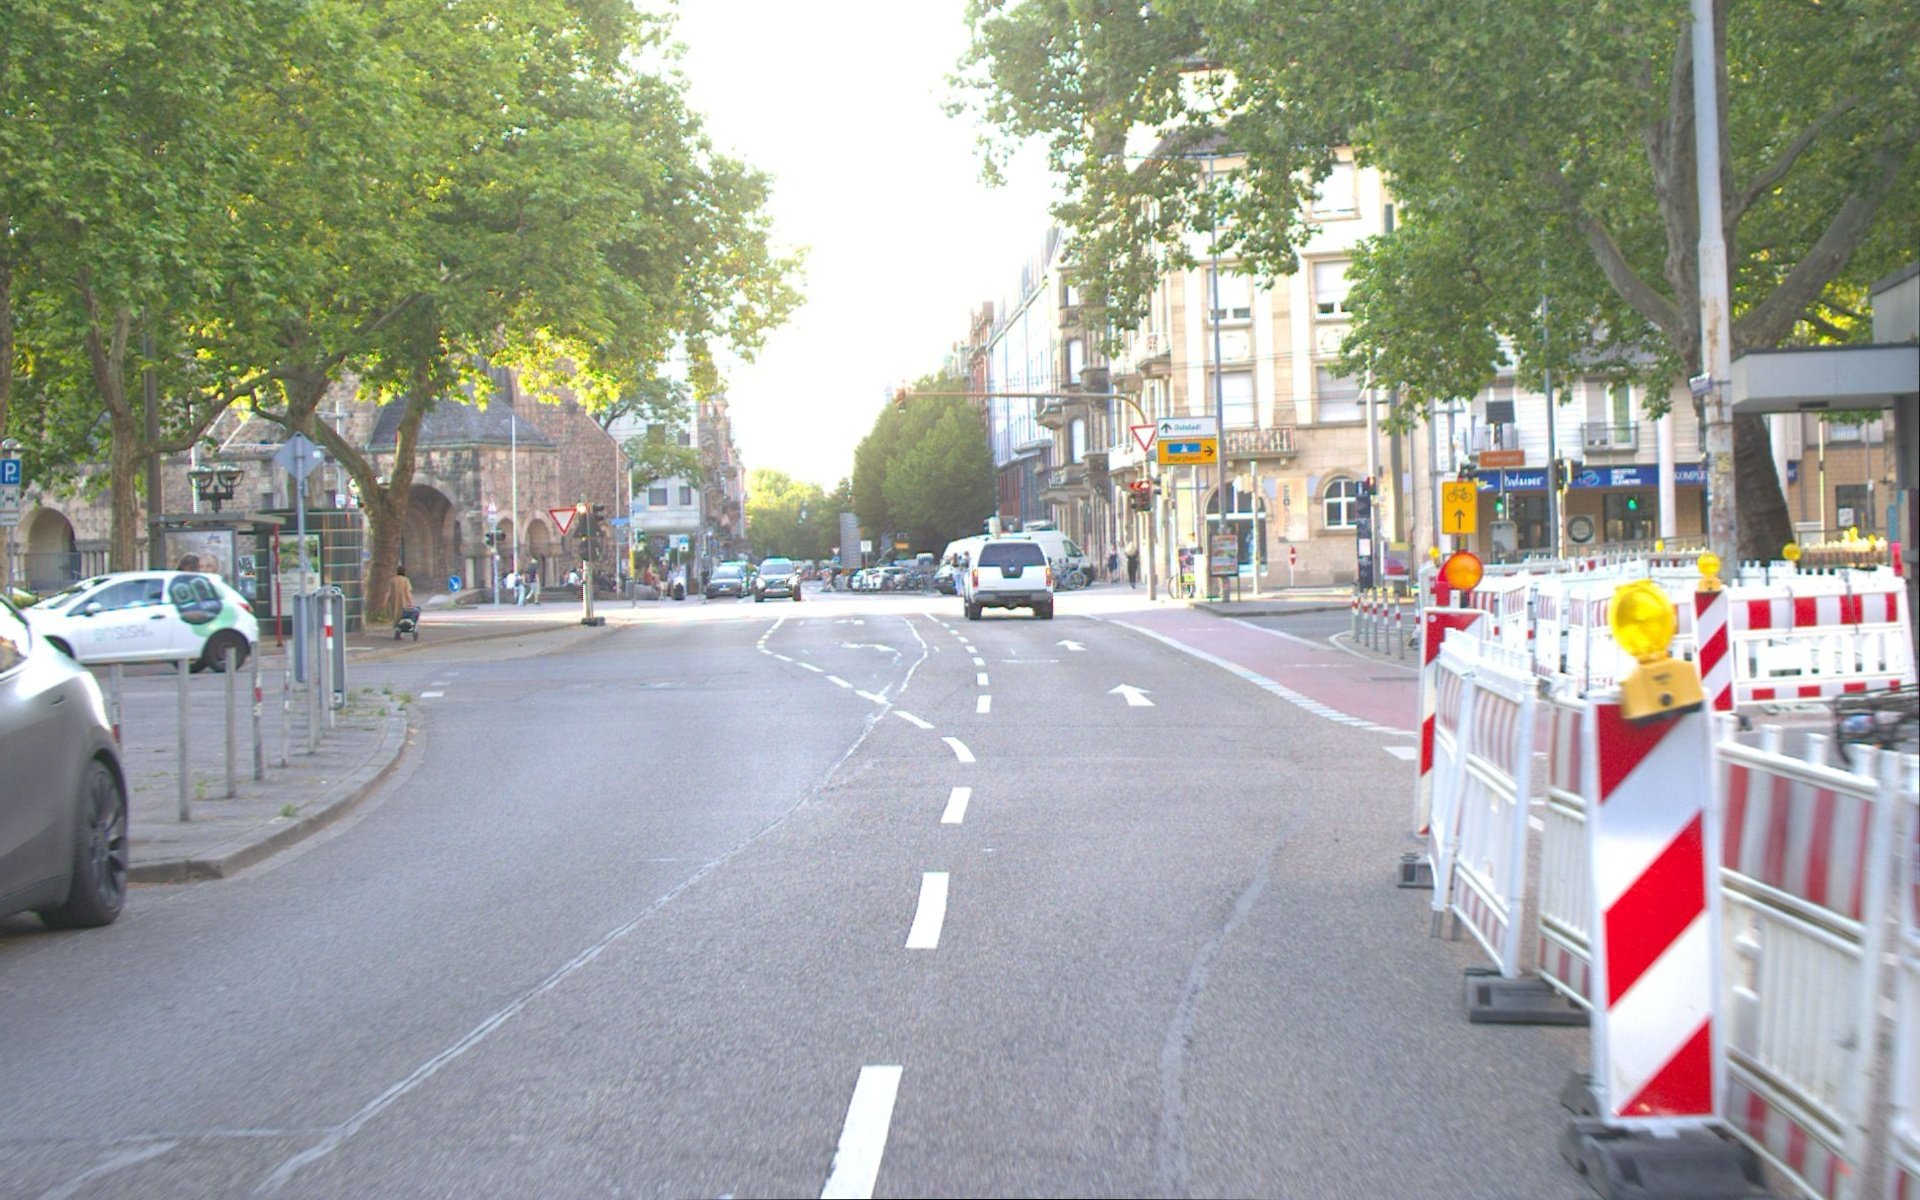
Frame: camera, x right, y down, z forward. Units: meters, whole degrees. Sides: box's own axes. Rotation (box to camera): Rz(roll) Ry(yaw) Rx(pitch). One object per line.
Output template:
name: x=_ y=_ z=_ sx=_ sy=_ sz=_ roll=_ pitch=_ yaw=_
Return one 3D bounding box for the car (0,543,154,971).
car: x=-4.634 y=0.650 z=12.940 sx=1.953 sy=1.611 sz=4.605 roll=-3 pitch=1 yaw=1

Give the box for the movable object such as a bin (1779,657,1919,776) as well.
movable object such as a bin: x=6.107 y=0.760 z=22.721 sx=0.990 sy=0.686 sz=0.942 roll=-4 pitch=0 yaw=-13

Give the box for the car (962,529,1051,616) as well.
car: x=1.012 y=-0.619 z=76.739 sx=1.866 sy=1.808 sz=4.000 roll=-2 pitch=1 yaw=0

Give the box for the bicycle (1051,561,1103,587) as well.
bicycle: x=4.559 y=-1.021 z=133.544 sx=1.916 sy=0.965 sz=0.545 roll=-1 pitch=1 yaw=16

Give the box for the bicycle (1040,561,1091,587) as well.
bicycle: x=4.073 y=-1.015 z=132.770 sx=1.915 sy=0.965 sz=0.546 roll=-2 pitch=1 yaw=0

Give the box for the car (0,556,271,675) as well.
car: x=-11.885 y=0.202 z=47.955 sx=3.987 sy=1.514 sz=2.000 roll=-2 pitch=1 yaw=-32

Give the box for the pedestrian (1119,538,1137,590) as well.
pedestrian: x=6.206 y=-1.323 z=126.897 sx=0.593 sy=1.880 sz=0.647 roll=-1 pitch=1 yaw=4

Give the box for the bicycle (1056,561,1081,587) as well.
bicycle: x=4.269 y=-1.035 z=134.912 sx=0.544 sy=0.965 sz=1.920 roll=-1 pitch=1 yaw=15

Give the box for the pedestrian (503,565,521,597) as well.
pedestrian: x=-18.889 y=-0.807 z=145.001 sx=0.573 sy=1.315 sz=0.486 roll=-1 pitch=1 yaw=13

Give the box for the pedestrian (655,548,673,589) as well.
pedestrian: x=-13.671 y=-1.459 z=158.636 sx=0.593 sy=1.880 sz=0.585 roll=-1 pitch=1 yaw=15

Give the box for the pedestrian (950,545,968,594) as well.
pedestrian: x=-0.033 y=-1.177 z=132.634 sx=0.593 sy=1.880 sz=0.647 roll=-1 pitch=1 yaw=4

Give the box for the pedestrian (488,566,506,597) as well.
pedestrian: x=-19.379 y=-0.767 z=143.882 sx=0.574 sy=1.286 sz=0.485 roll=-1 pitch=1 yaw=41

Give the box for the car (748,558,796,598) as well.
car: x=-7.873 y=-0.938 z=143.870 sx=1.781 sy=1.645 sz=3.822 roll=0 pitch=0 yaw=-7

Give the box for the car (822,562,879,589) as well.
car: x=-7.844 y=-1.762 z=246.623 sx=3.986 sy=1.809 sz=2.000 roll=-1 pitch=1 yaw=-4

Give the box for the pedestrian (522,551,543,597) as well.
pedestrian: x=-17.508 y=-1.058 z=140.691 sx=0.594 sy=1.880 sz=0.553 roll=-1 pitch=1 yaw=23

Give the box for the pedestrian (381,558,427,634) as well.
pedestrian: x=-12.087 y=-0.098 z=74.738 sx=0.738 sy=1.623 sz=0.685 roll=-1 pitch=1 yaw=13

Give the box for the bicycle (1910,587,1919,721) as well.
bicycle: x=7.720 y=0.408 z=23.062 sx=2.350 sy=1.168 sz=0.942 roll=-4 pitch=0 yaw=-13

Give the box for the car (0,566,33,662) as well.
car: x=-16.244 y=0.302 z=52.696 sx=1.820 sy=1.476 sz=4.628 roll=-1 pitch=2 yaw=15

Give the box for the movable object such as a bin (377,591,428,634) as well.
movable object such as a bin: x=-11.966 y=0.265 z=73.820 sx=0.738 sy=0.887 sz=0.982 roll=-1 pitch=1 yaw=13

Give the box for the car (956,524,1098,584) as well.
car: x=2.748 y=-1.879 z=139.041 sx=5.807 sy=2.280 sz=2.071 roll=-2 pitch=1 yaw=-41

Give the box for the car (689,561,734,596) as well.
car: x=-11.993 y=-1.032 z=165.808 sx=1.993 sy=1.645 sz=3.822 roll=0 pitch=0 yaw=-7

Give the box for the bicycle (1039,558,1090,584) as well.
bicycle: x=4.037 y=-1.126 z=132.490 sx=1.915 sy=0.965 sz=0.546 roll=-2 pitch=1 yaw=0

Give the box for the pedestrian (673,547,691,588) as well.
pedestrian: x=-12.850 y=-1.498 z=158.826 sx=0.594 sy=1.880 sz=0.553 roll=-1 pitch=1 yaw=17

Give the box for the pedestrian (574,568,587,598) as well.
pedestrian: x=-16.487 y=-0.730 z=149.408 sx=0.491 sy=1.282 sz=0.499 roll=-2 pitch=1 yaw=-2

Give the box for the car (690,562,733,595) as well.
car: x=-12.568 y=-1.100 z=173.536 sx=1.993 sy=1.645 sz=3.822 roll=0 pitch=0 yaw=-7

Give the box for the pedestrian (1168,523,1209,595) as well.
pedestrian: x=5.717 y=-1.028 z=86.056 sx=0.794 sy=1.762 sz=0.721 roll=-2 pitch=1 yaw=-16
